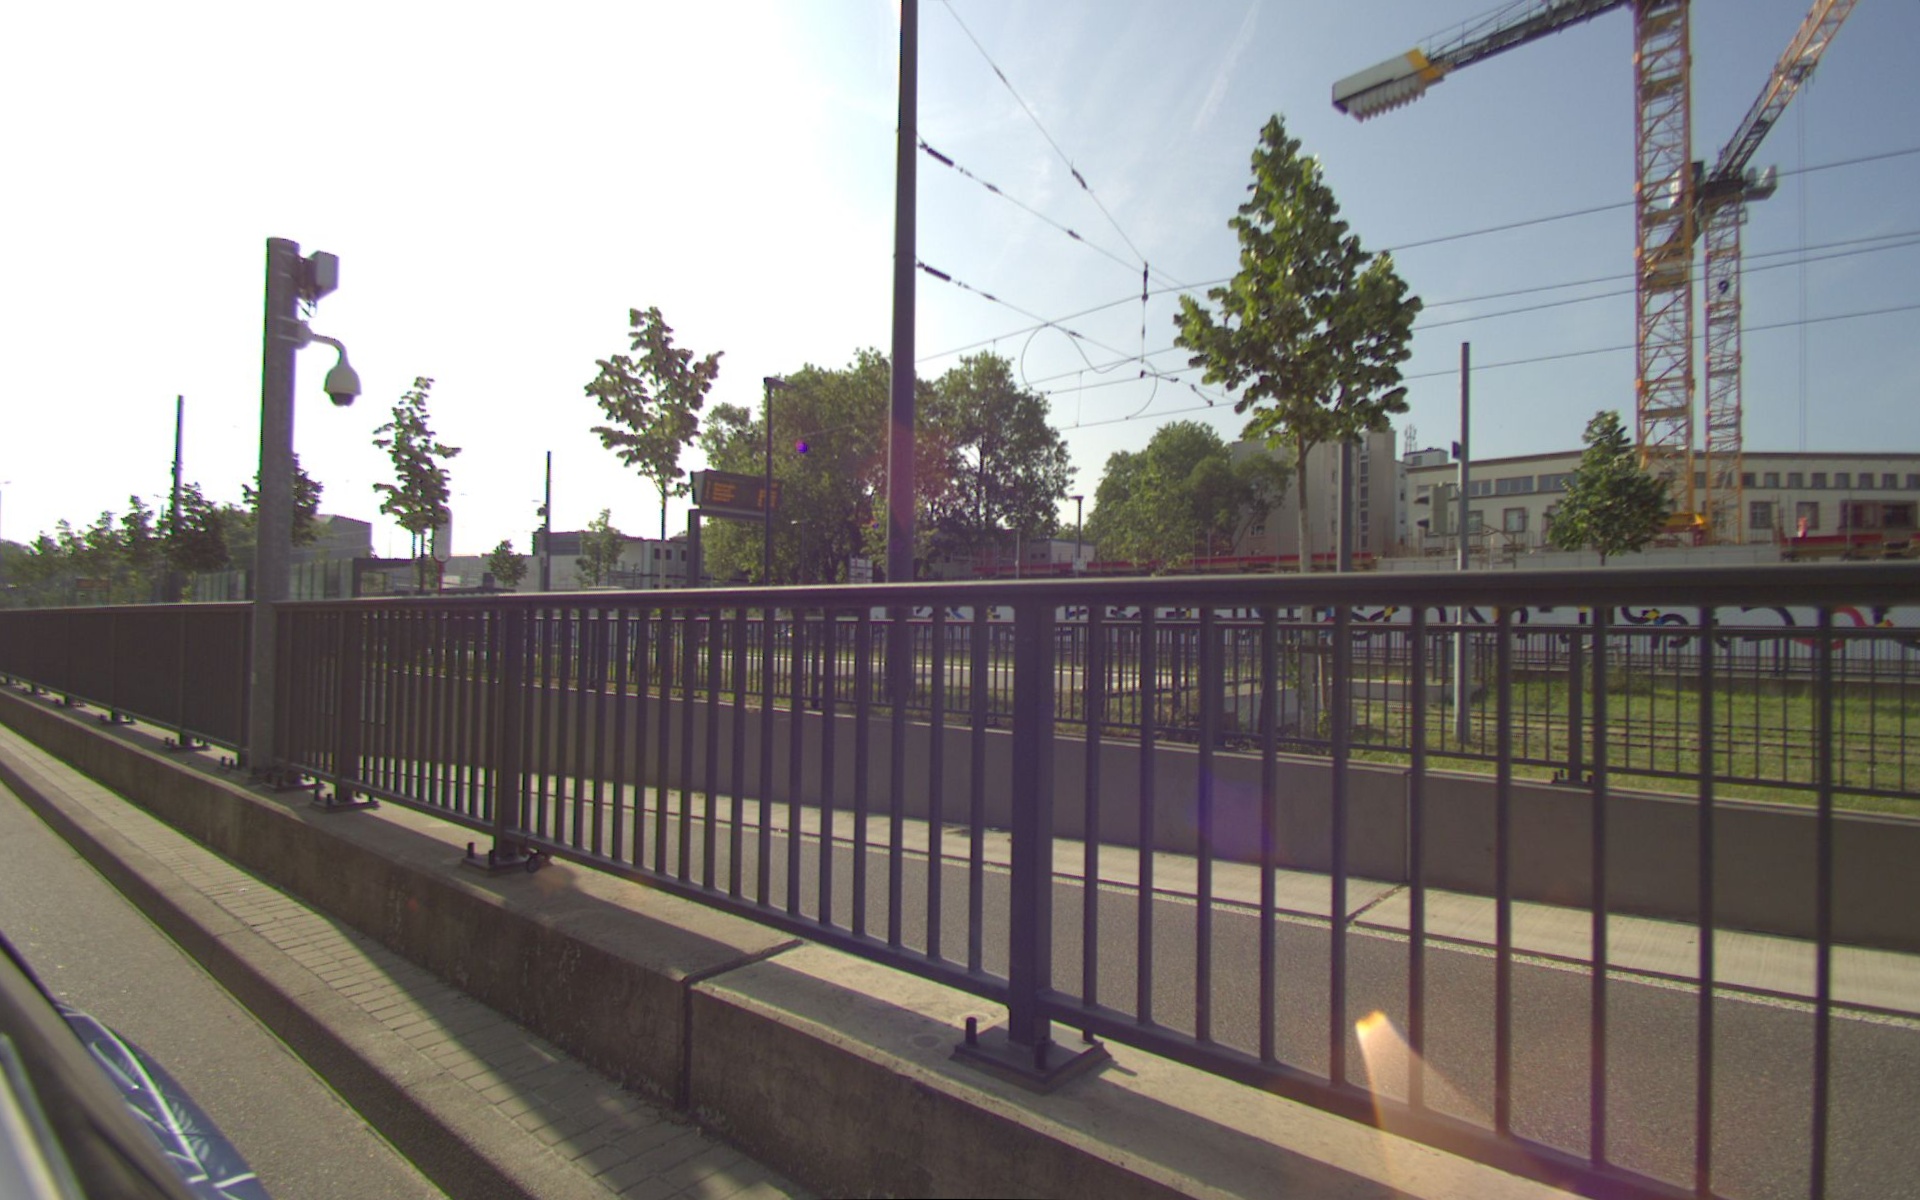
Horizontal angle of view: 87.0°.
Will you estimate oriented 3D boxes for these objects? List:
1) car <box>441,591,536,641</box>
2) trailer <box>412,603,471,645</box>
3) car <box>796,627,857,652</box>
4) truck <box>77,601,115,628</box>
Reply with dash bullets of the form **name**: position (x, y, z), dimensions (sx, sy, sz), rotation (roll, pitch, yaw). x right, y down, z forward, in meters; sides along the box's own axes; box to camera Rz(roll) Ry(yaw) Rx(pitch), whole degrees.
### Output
- **car**: position (-35.498, 1.190, 75.983), dimensions (9.229, 3.539, 3.022), rotation (-1, -2, 41)
- **trailer**: position (-36.413, 1.646, 71.069), dimensions (5.020, 2.802, 2.023), rotation (-1, -1, 41)
- **car**: position (-6.784, 1.962, 51.164), dimensions (2.959, 1.211, 1.485), rotation (-1, -2, 41)
- **truck**: position (-120.833, 2.093, 141.523), dimensions (8.890, 3.614, 2.988), rotation (-2, -3, 43)
